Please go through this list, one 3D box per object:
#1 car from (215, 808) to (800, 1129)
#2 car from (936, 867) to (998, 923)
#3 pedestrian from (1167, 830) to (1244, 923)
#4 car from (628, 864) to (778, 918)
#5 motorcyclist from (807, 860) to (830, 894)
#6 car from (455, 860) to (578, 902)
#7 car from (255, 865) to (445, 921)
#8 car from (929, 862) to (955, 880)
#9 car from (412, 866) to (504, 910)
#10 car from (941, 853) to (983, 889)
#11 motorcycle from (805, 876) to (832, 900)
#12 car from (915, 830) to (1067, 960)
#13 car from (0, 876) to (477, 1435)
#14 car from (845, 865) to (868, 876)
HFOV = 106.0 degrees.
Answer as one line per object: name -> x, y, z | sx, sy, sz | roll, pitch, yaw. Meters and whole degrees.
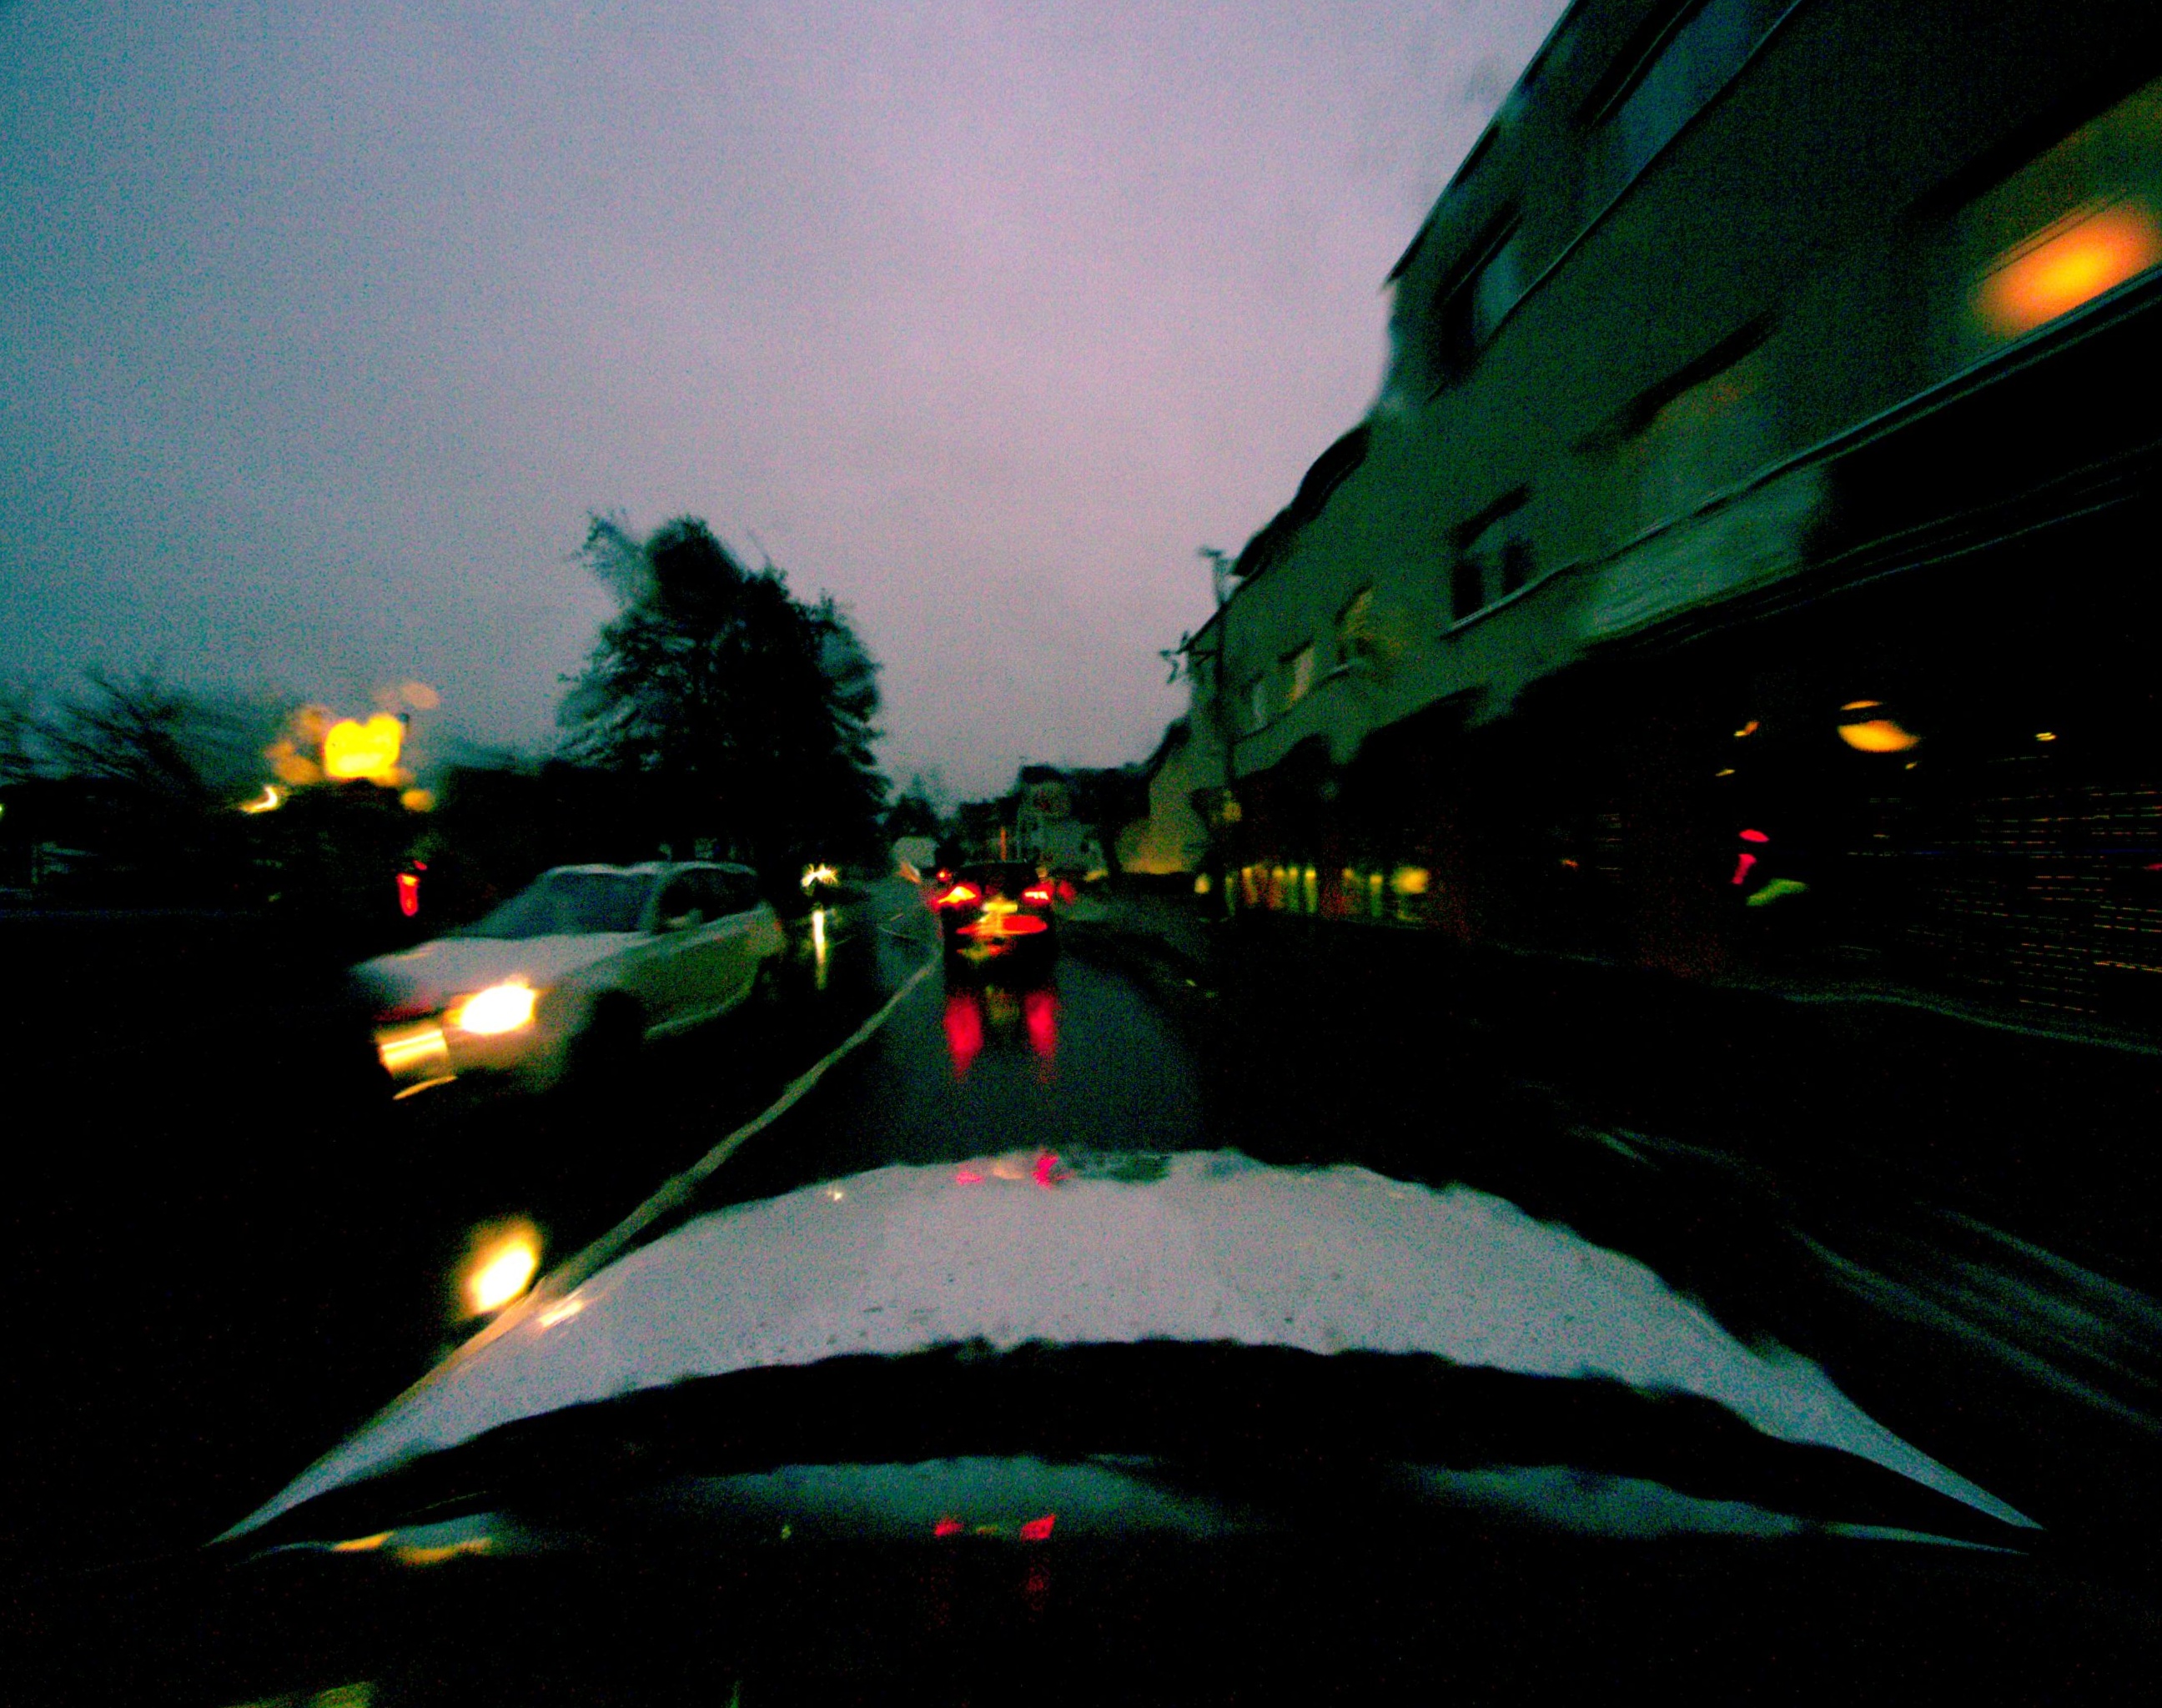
car -> -3.936, 0.642, 6.733 | 1.767, 1.723, 4.418 | -2, 0, -2
car -> -3.844, 1.283, 27.105 | 1.858, 1.647, 3.986 | -1, 0, -10
pedestrian -> 2.647, 0.468, 17.545 | 1.253, 1.866, 1.300 | -4, -1, -6
car -> -12.434, 1.223, 27.097 | 4.236, 1.699, 1.889 | 1, -1, -17
motorcyclist -> -11.881, 1.039, 36.870 | 0.866, 1.485, 0.905 | -1, -1, -11
car -> -28.151, 1.312, 40.827 | 4.662, 1.977, 2.114 | 0, 0, -21
car -> -25.263, 1.311, 28.360 | 4.420, 1.671, 1.956 | -2, 0, -19
car -> -11.507, 1.372, 67.353 | 1.844, 1.331, 3.919 | -2, 0, -13
car -> -36.193, 1.916, 47.514 | 2.283, 2.279, 5.246 | 0, 0, -13
car -> -7.152, 1.007, 49.071 | 2.308, 1.938, 5.003 | -2, -1, -8
motorcycle -> -11.886, 1.543, 36.905 | 0.866, 1.024, 2.102 | -1, -1, -10
car -> -1.691, 0.685, 15.273 | 2.307, 1.938, 5.005 | -2, -1, -7
car -> -3.870, 0.867, 1.933 | 1.765, 1.495, 4.043 | -2, 0, 1
car -> -46.201, 3.463, 167.400 | 4.265, 2.013, 1.797 | -2, 0, -23
